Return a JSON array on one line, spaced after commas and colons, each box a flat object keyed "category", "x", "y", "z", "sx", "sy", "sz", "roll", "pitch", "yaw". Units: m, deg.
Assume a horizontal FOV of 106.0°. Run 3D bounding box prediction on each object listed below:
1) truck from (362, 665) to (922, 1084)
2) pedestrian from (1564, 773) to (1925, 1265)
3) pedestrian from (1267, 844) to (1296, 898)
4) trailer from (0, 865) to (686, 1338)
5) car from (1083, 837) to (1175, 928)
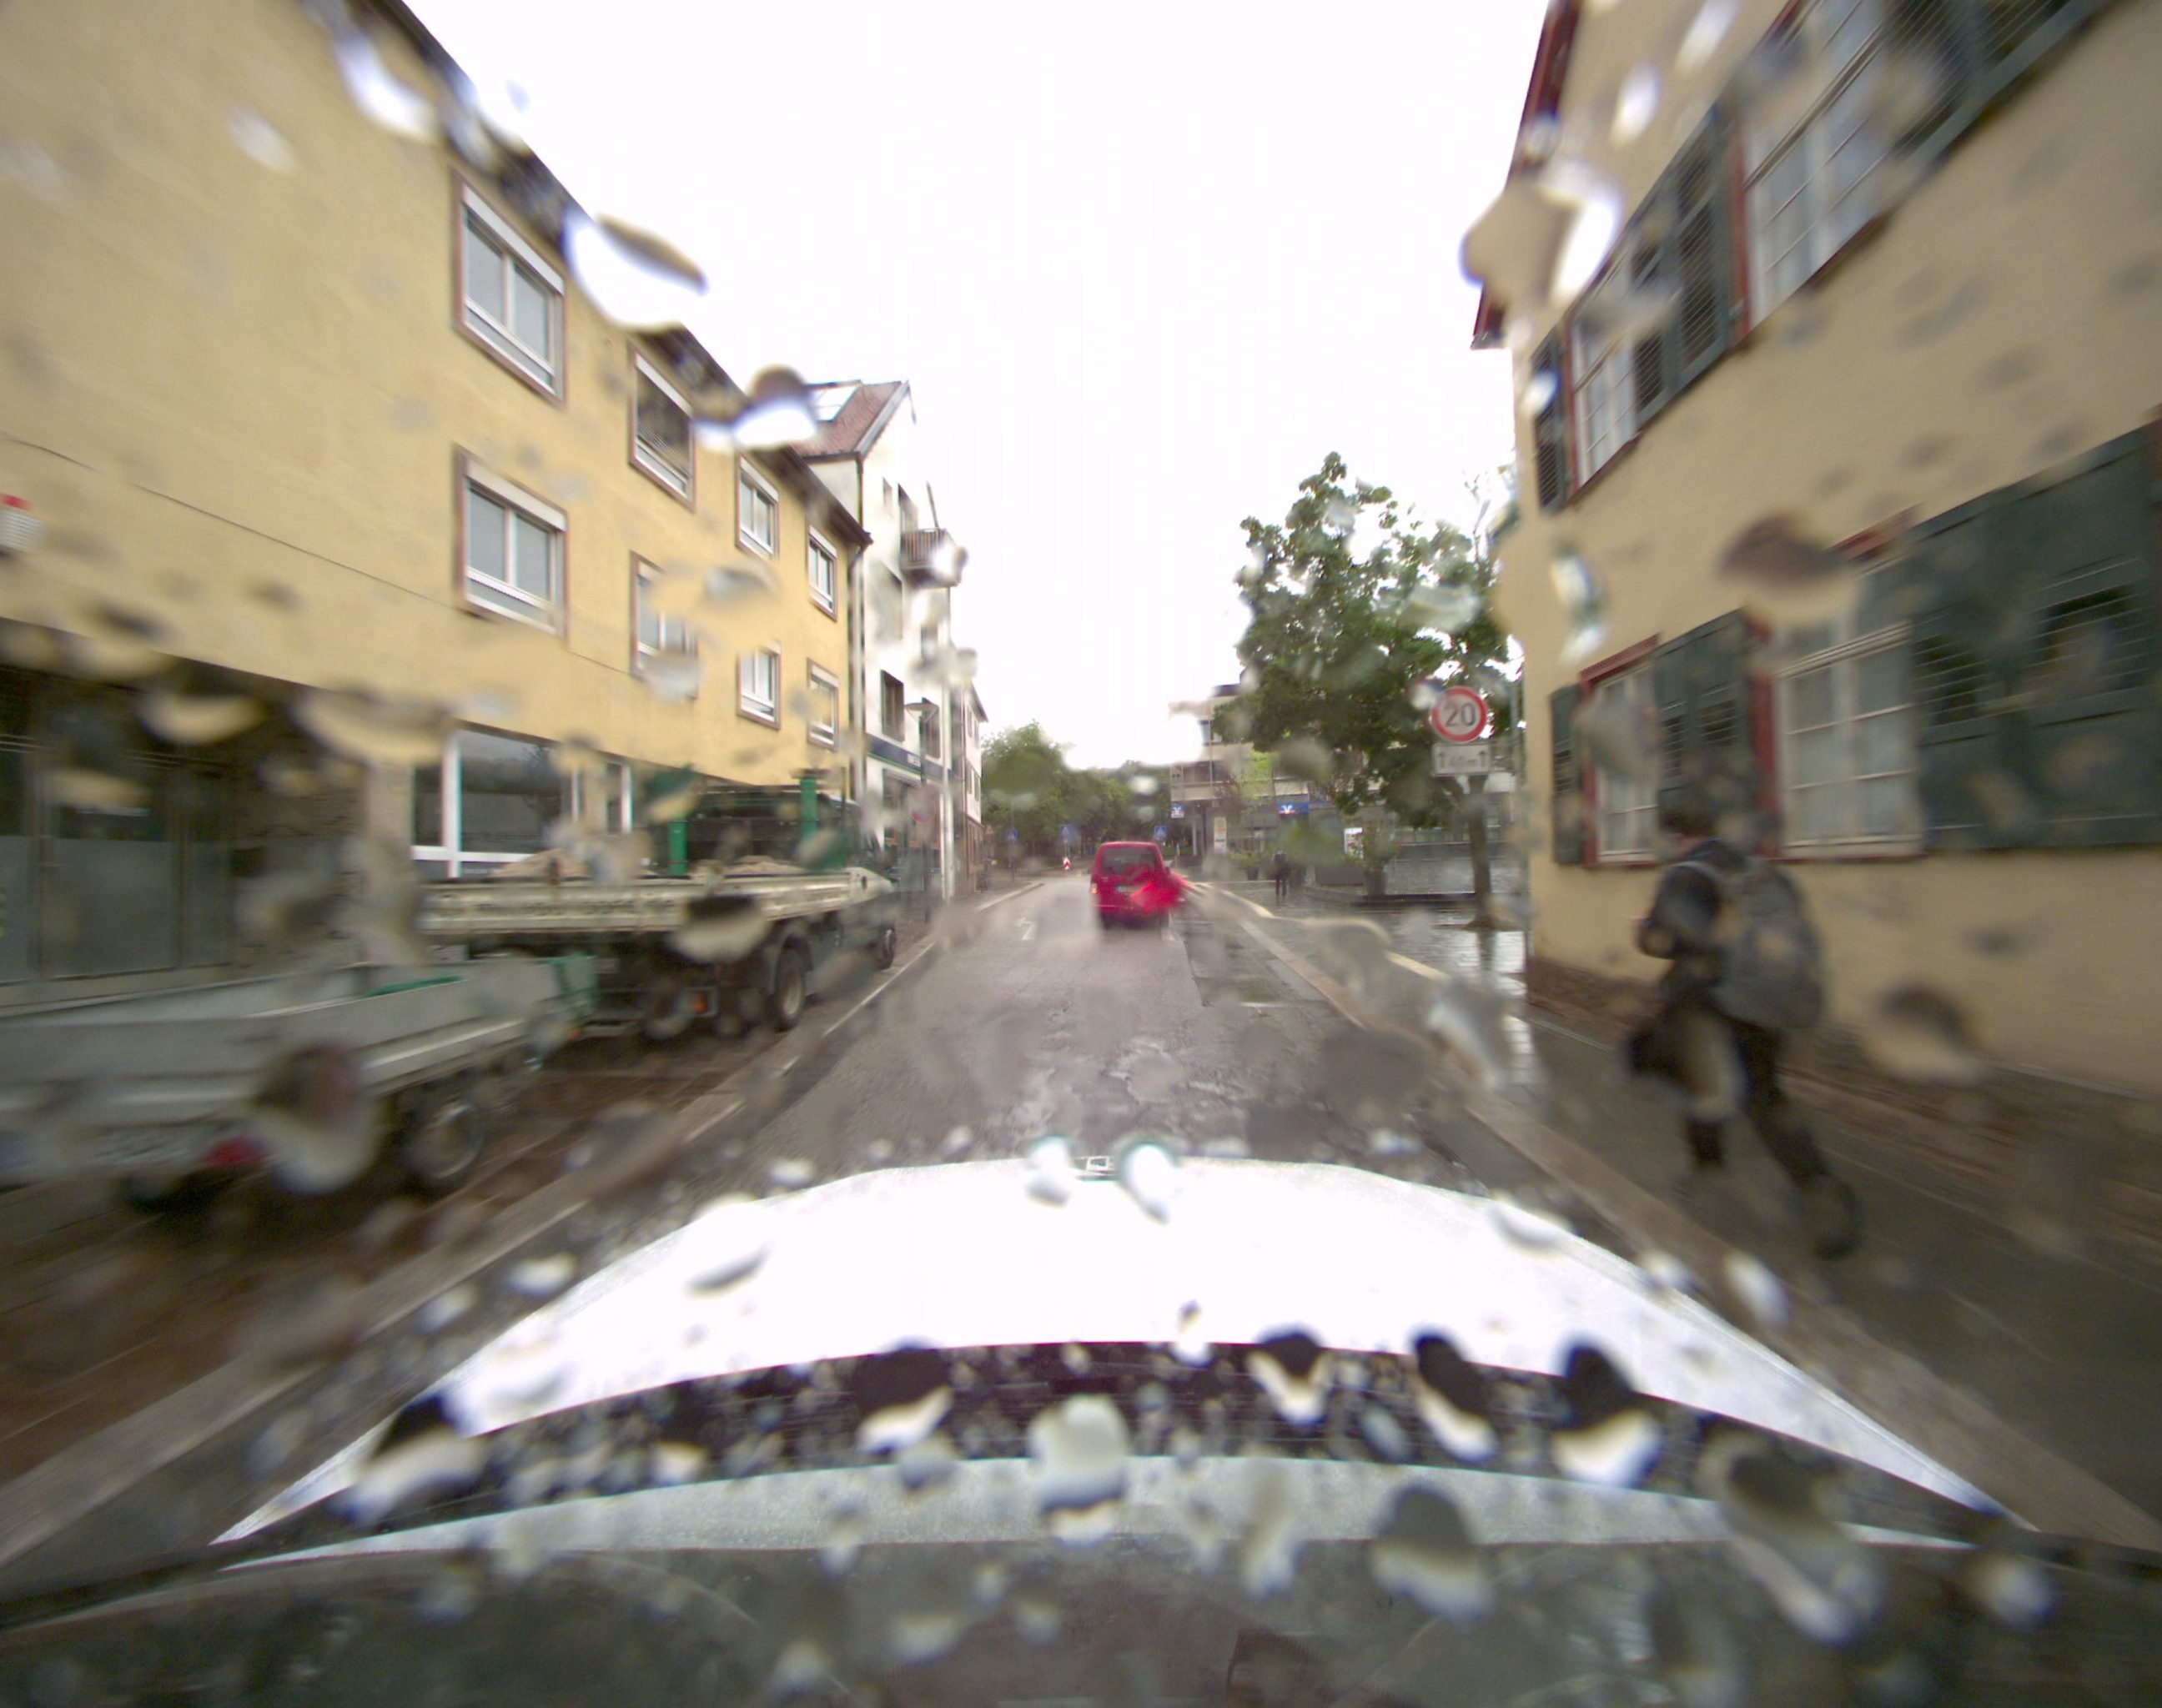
[{"category": "truck", "x": -3.666, "y": 0.102, "z": 8.928, "sx": 2.466, "sy": 2.795, "sz": 6.598, "roll": -2, "pitch": 1, "yaw": 0}, {"category": "pedestrian", "x": 2.560, "y": 0.576, "z": 3.264, "sx": 0.711, "sy": 1.693, "sz": 0.868, "roll": -2, "pitch": 0, "yaw": 3}, {"category": "pedestrian", "x": 6.230, "y": 0.514, "z": 25.311, "sx": 0.724, "sy": 1.617, "sz": 0.695, "roll": -3, "pitch": -1, "yaw": 7}, {"category": "trailer", "x": -3.624, "y": 0.801, "z": 4.056, "sx": 1.722, "sy": 1.346, "sz": 3.160, "roll": -2, "pitch": 1, "yaw": -1}, {"category": "car", "x": 1.030, "y": 0.605, "z": 18.941, "sx": 1.856, "sy": 1.830, "sz": 4.185, "roll": -2, "pitch": -1, "yaw": 1}]
